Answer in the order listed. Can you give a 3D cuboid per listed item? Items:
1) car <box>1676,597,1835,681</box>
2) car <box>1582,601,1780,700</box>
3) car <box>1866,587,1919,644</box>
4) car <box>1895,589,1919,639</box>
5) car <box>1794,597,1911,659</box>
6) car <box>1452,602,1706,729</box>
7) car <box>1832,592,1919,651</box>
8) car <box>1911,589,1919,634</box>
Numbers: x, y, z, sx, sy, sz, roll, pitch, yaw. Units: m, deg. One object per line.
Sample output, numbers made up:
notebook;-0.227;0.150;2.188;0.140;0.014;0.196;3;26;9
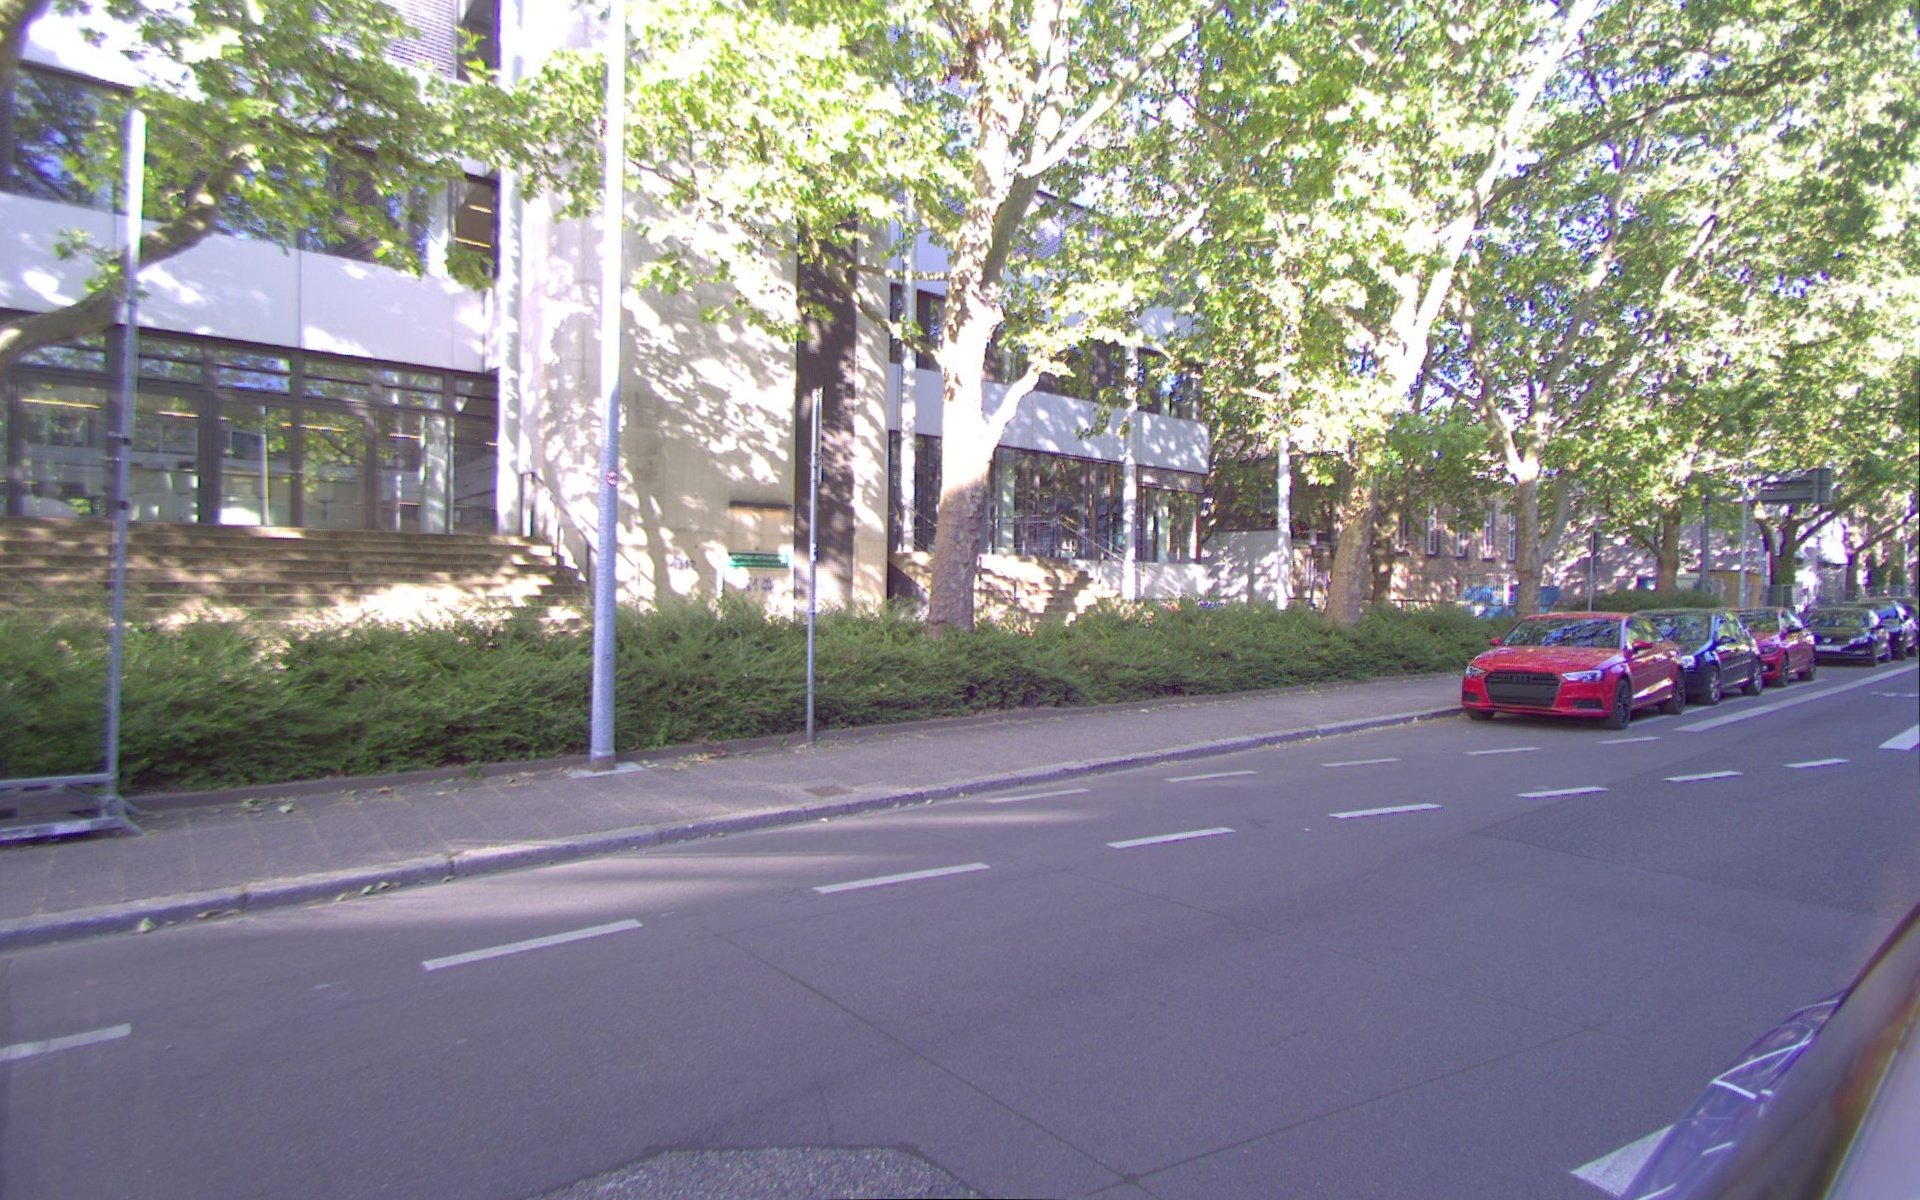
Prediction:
car;15.867;0.698;20.109;4.092;1.502;1.815;0;-1;-42
car;11.962;0.736;16.688;4.092;1.431;1.815;0;-1;-42
car;31.065;0.485;33.017;4.271;1.777;1.788;0;-1;-42
car;35.918;0.480;37.253;4.475;1.777;1.788;0;-1;-42
car;23.059;0.677;26.103;4.092;1.478;1.788;0;-1;-42
car;8.368;0.751;13.549;4.092;1.431;1.815;0;-1;-42
car;26.604;0.586;29.134;4.092;1.573;1.788;0;-1;-42
car;39.635;0.434;40.403;4.475;1.777;2.040;0;-1;-42
